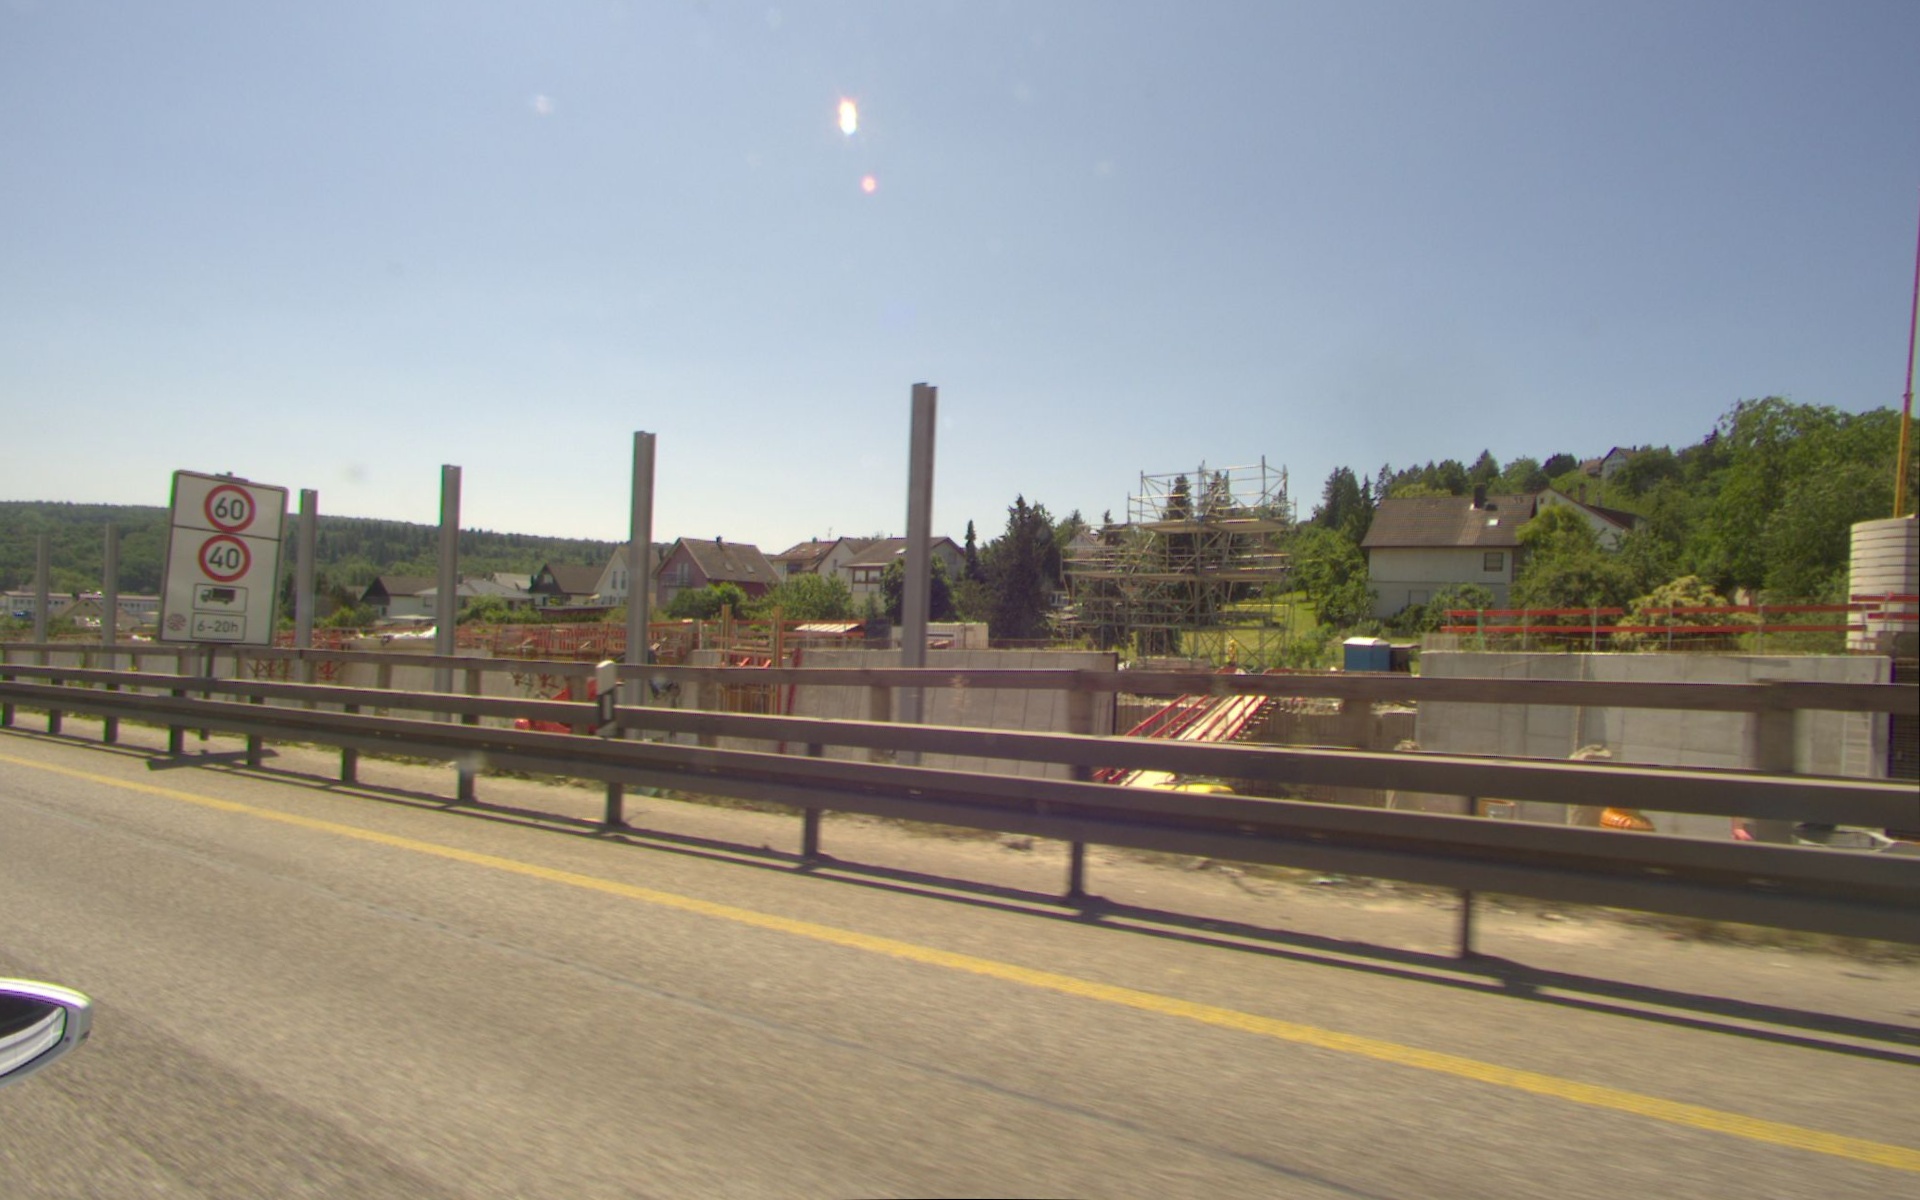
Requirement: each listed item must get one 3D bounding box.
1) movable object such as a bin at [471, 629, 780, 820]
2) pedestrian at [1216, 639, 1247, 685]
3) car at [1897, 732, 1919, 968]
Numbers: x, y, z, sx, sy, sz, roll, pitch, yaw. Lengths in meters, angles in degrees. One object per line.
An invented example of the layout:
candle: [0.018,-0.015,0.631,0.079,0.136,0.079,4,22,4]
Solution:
movable object such as a bin: [-9.922,3.305,29.131,9.518,4.803,3.222,-2,-2,32]
pedestrian: [12.142,2.751,44.738,0.960,2.013,1.134,-2,-2,36]
car: [14.964,3.106,10.696,6.932,2.892,2.138,-2,-2,36]
